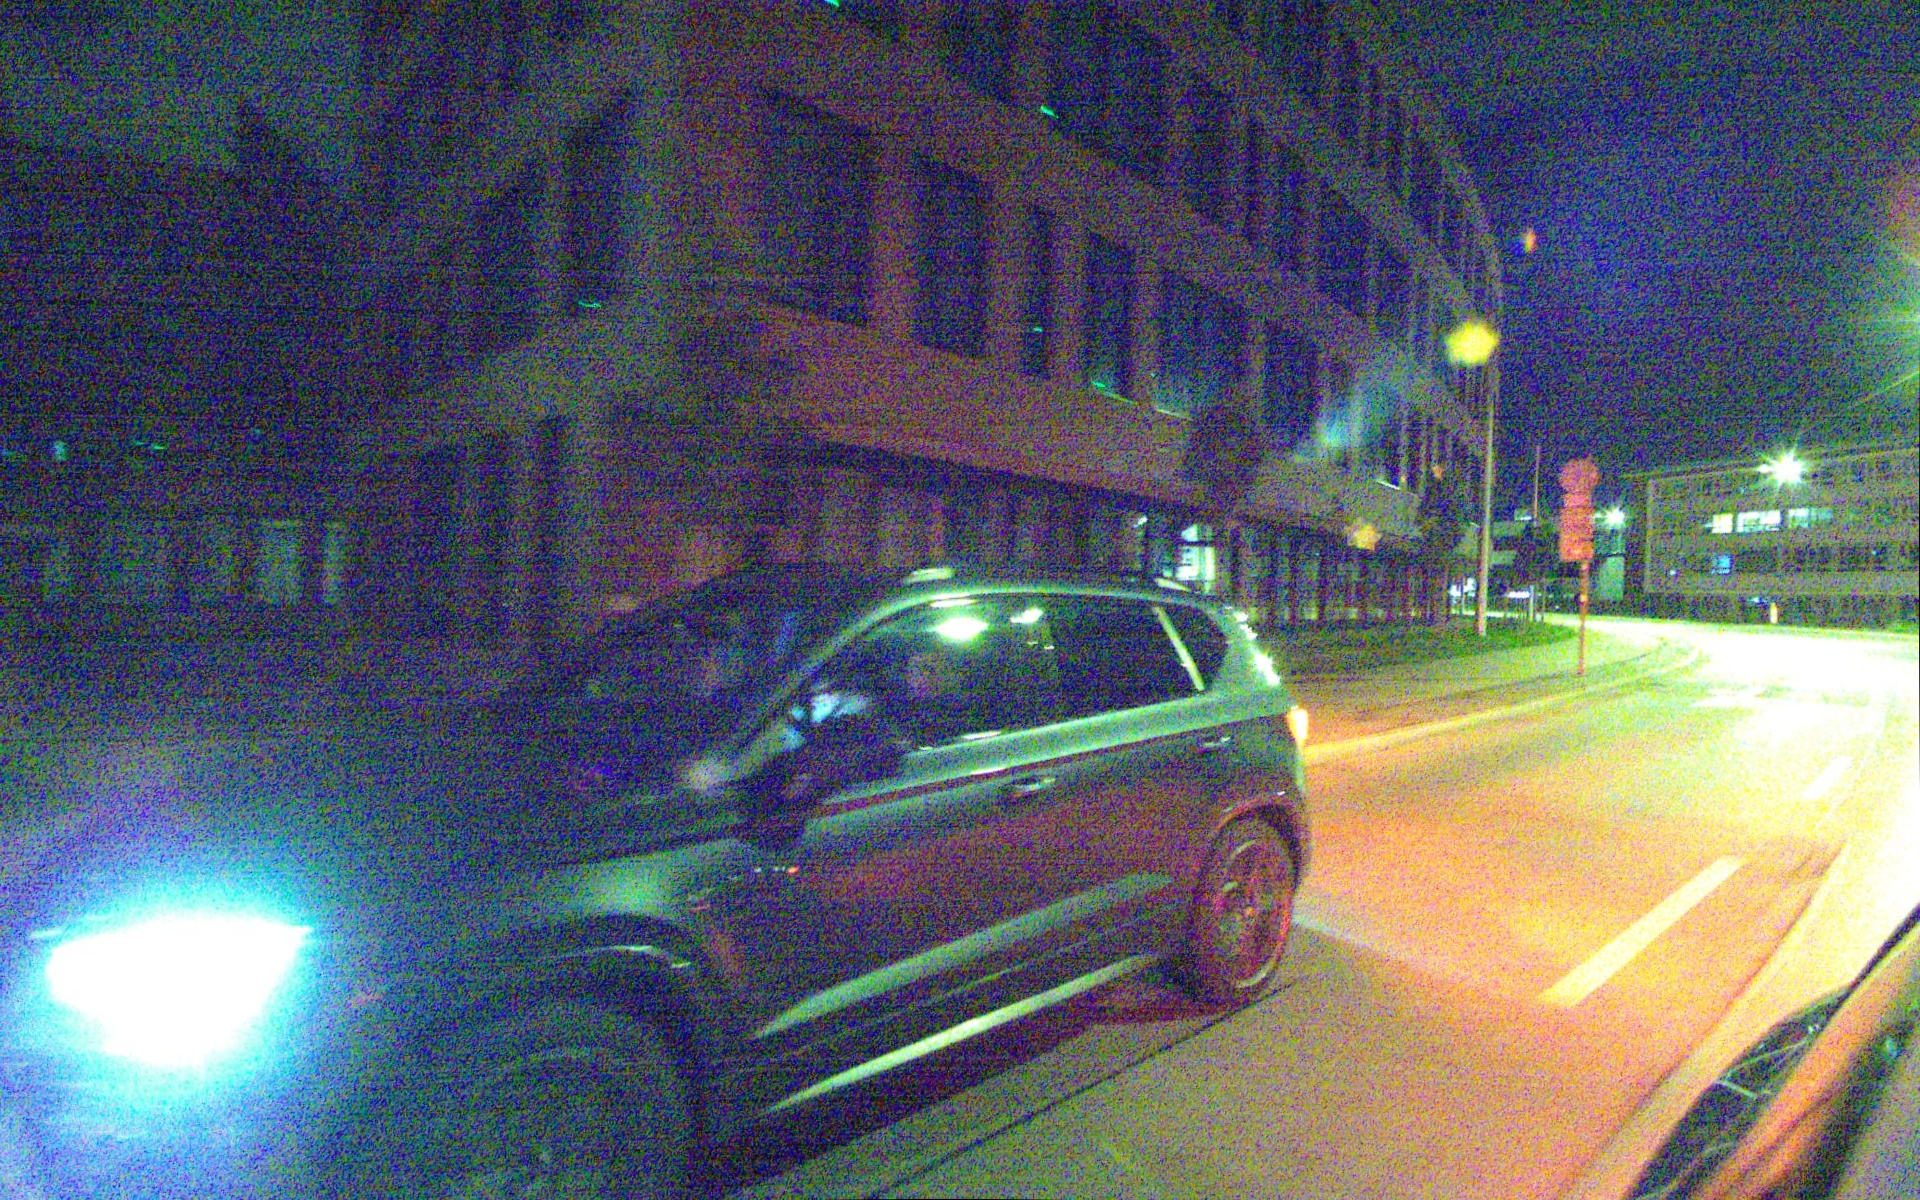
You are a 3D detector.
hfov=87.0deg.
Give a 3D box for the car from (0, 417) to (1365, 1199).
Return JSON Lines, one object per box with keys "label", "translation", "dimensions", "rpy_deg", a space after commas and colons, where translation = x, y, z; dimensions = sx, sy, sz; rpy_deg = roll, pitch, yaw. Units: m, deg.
{"label": "car", "translation": [-0.409, 0.545, 3.376], "dimensions": [4.158, 1.630, 1.672], "rpy_deg": [0, 1, -43]}
